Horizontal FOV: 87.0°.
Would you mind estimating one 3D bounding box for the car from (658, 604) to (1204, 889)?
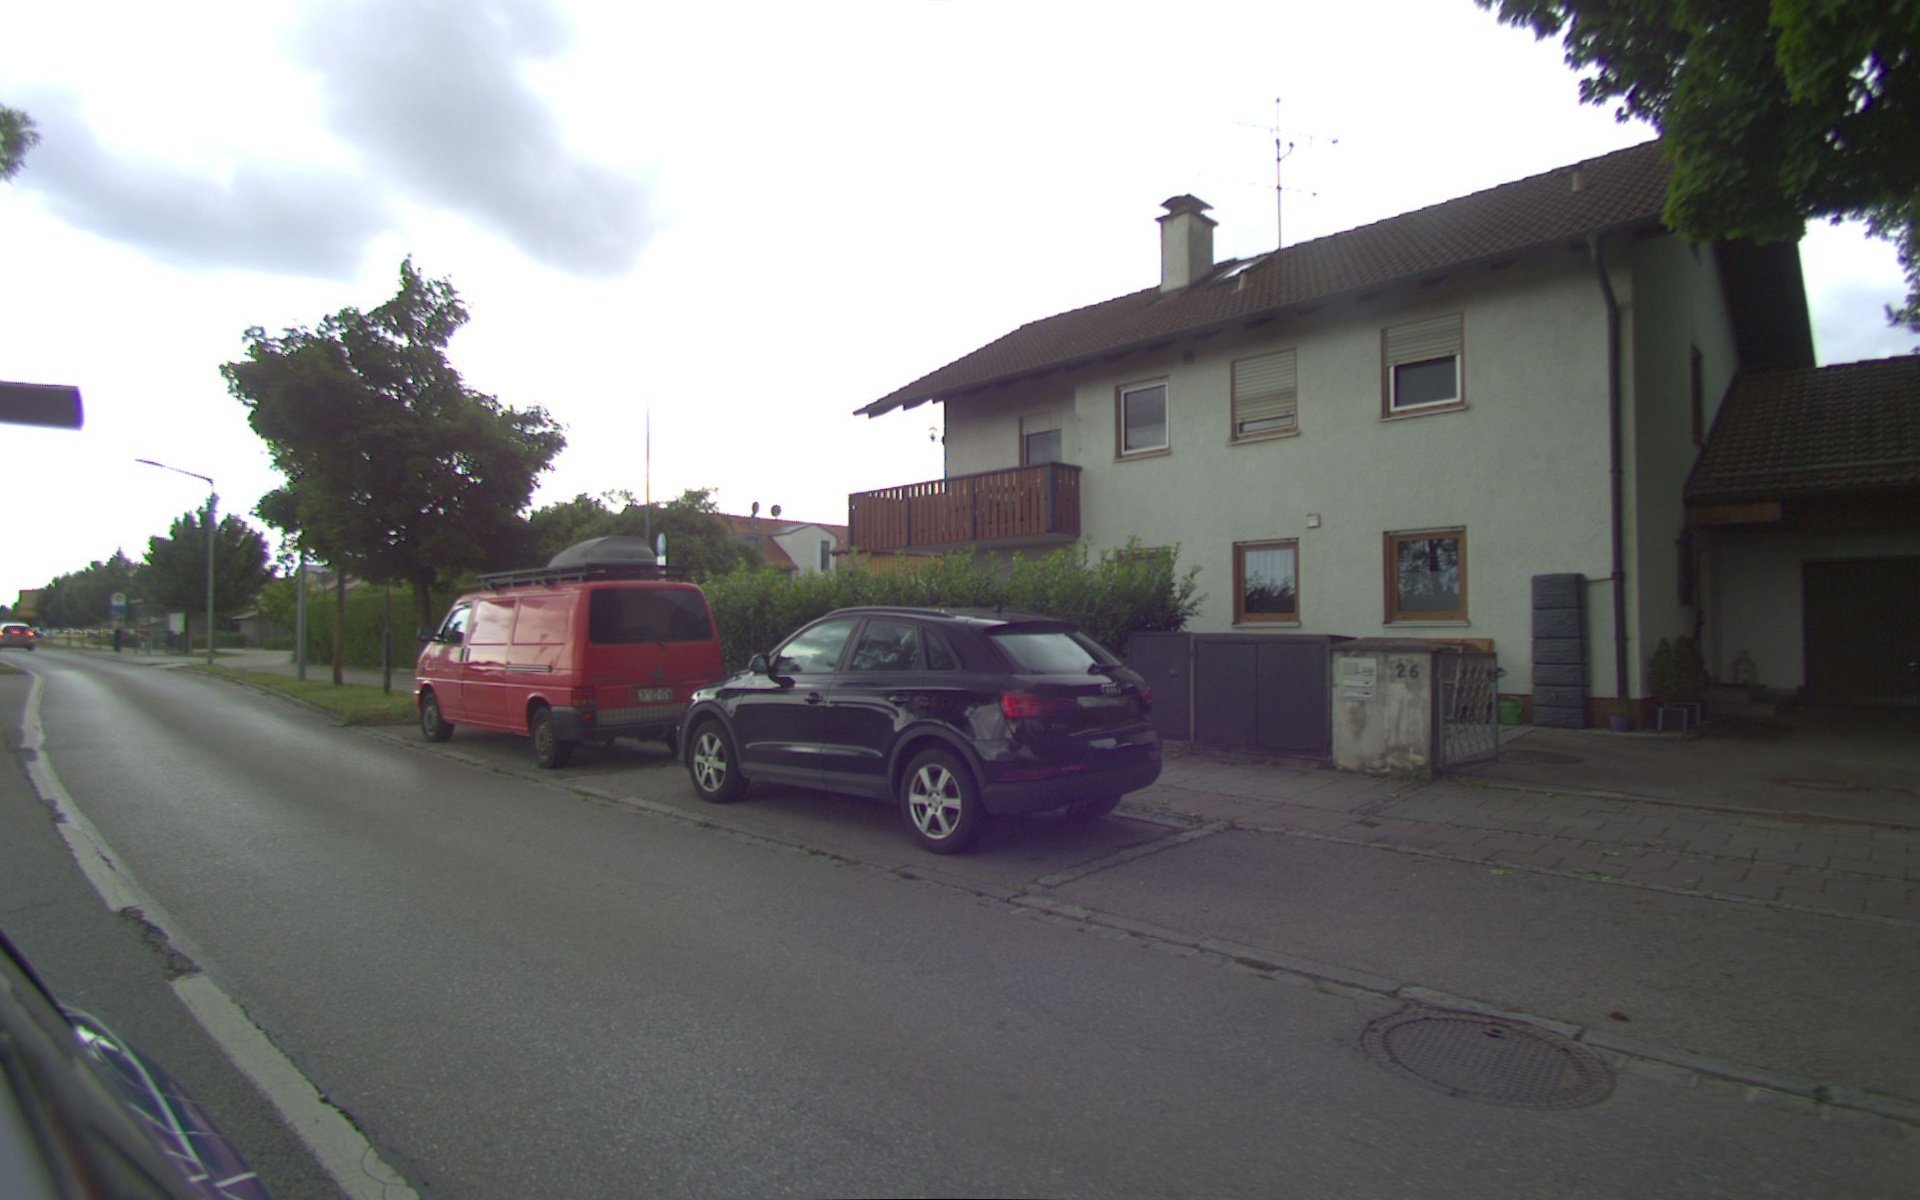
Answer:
[{"bbox_3d":[-0.455,0.902,7.836,4.238,1.610,1.752,-3,-2,44],"label":"car"}]

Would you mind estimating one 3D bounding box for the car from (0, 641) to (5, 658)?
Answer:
[{"bbox_3d":[-84.076,4.249,87.517,4.497,1.465,1.899,-2,-4,44],"label":"car"}]

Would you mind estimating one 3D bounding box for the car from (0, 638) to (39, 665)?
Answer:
[{"bbox_3d":[-56.672,3.092,60.882,1.687,1.544,3.509,4,-5,-45],"label":"car"}]

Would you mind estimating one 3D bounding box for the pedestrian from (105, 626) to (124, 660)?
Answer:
[{"bbox_3d":[-40.796,2.084,48.844,0.813,1.649,0.582,-2,-3,42],"label":"pedestrian"}]

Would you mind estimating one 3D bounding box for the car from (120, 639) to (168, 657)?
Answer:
[{"bbox_3d":[-101.449,5.954,125.868,4.504,2.029,2.002,0,-1,-43],"label":"car"}]

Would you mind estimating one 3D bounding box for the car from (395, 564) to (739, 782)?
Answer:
[{"bbox_3d":[-4.811,0.783,11.933,5.047,2.046,1.809,-2,-3,44],"label":"car"}]
